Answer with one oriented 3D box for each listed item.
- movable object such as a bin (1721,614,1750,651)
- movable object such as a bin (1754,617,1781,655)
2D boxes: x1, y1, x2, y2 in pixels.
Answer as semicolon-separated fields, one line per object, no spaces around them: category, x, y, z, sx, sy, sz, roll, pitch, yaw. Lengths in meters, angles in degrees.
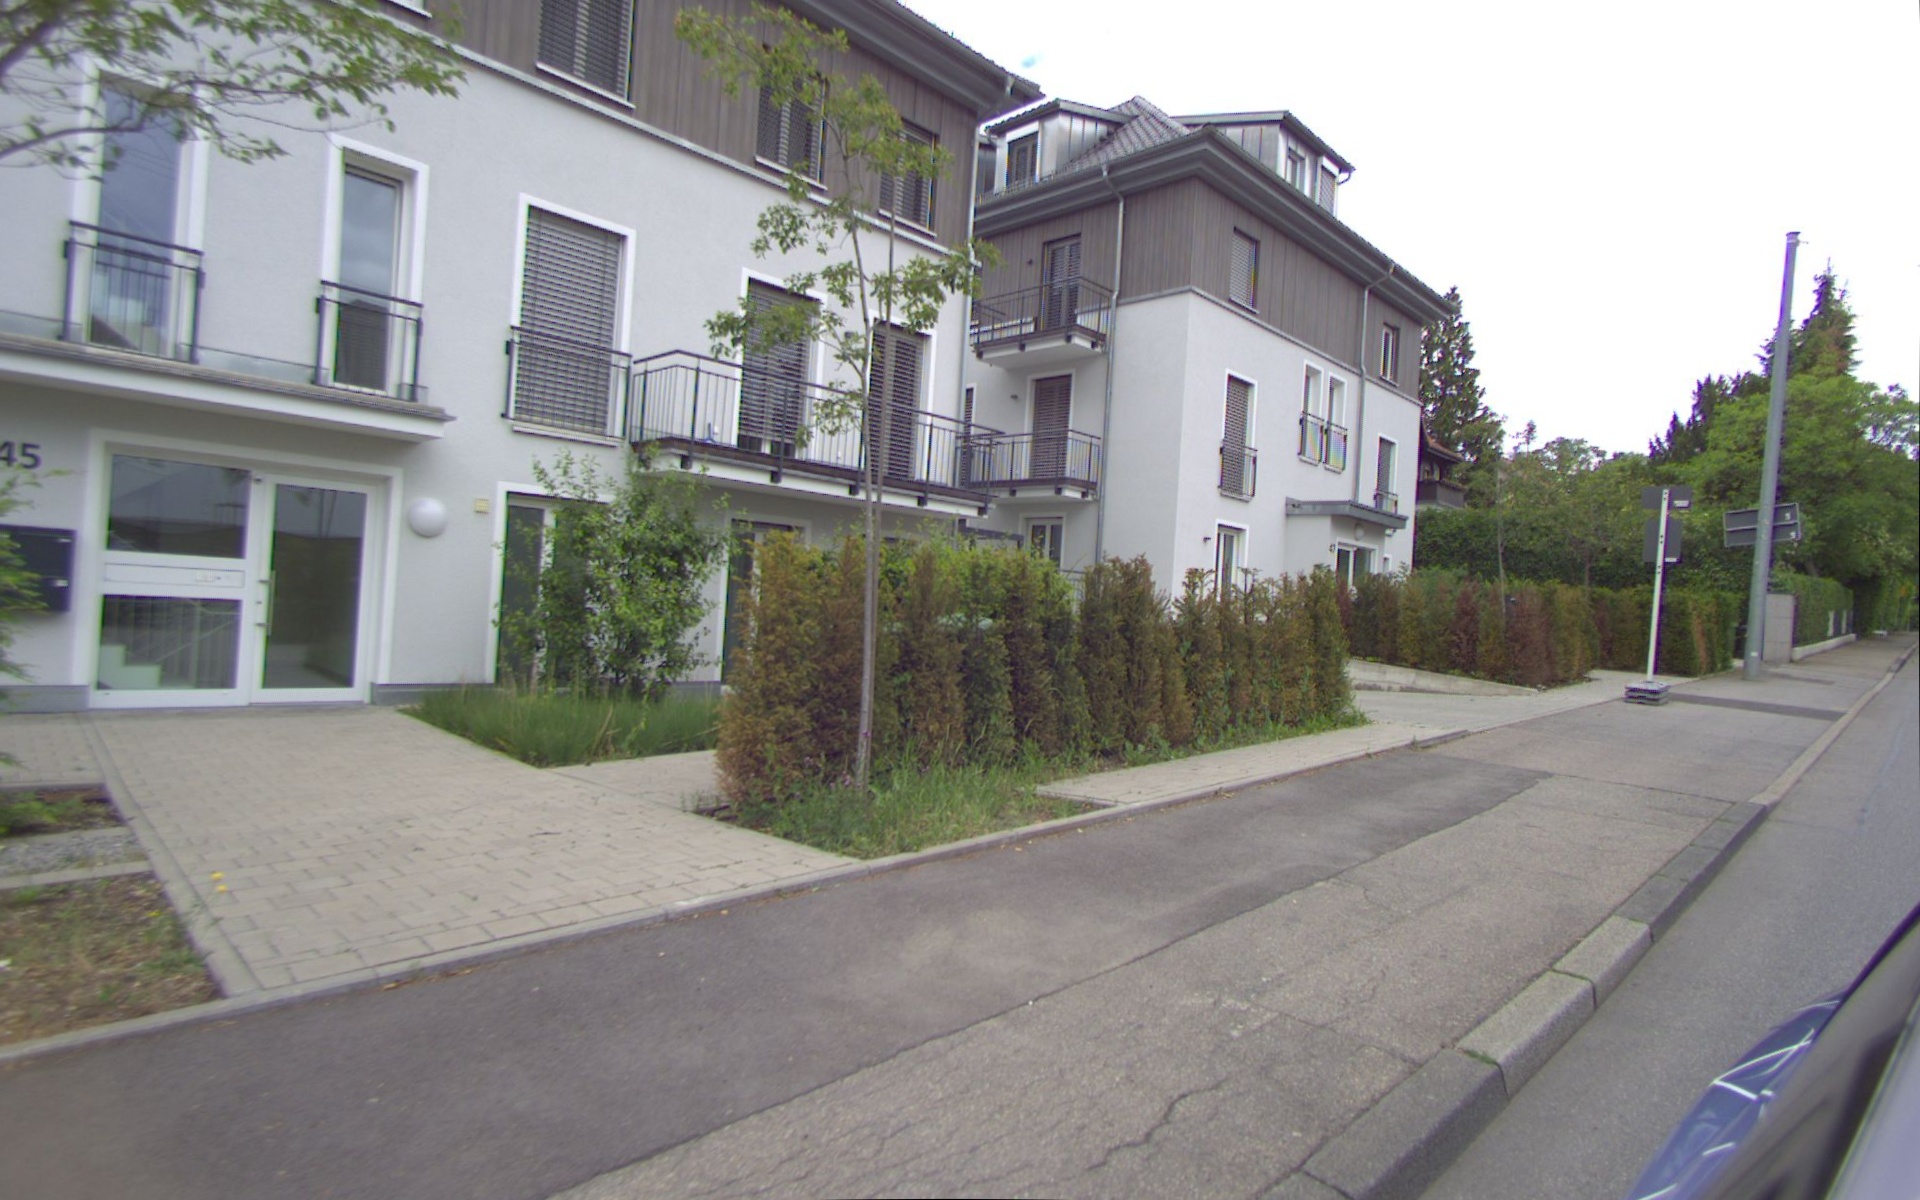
movable object such as a bin;20.795;0.871;27.132;0.462;0.949;0.599;4;1;27
movable object such as a bin;21.158;0.947;26.514;0.463;0.949;0.597;4;1;34
